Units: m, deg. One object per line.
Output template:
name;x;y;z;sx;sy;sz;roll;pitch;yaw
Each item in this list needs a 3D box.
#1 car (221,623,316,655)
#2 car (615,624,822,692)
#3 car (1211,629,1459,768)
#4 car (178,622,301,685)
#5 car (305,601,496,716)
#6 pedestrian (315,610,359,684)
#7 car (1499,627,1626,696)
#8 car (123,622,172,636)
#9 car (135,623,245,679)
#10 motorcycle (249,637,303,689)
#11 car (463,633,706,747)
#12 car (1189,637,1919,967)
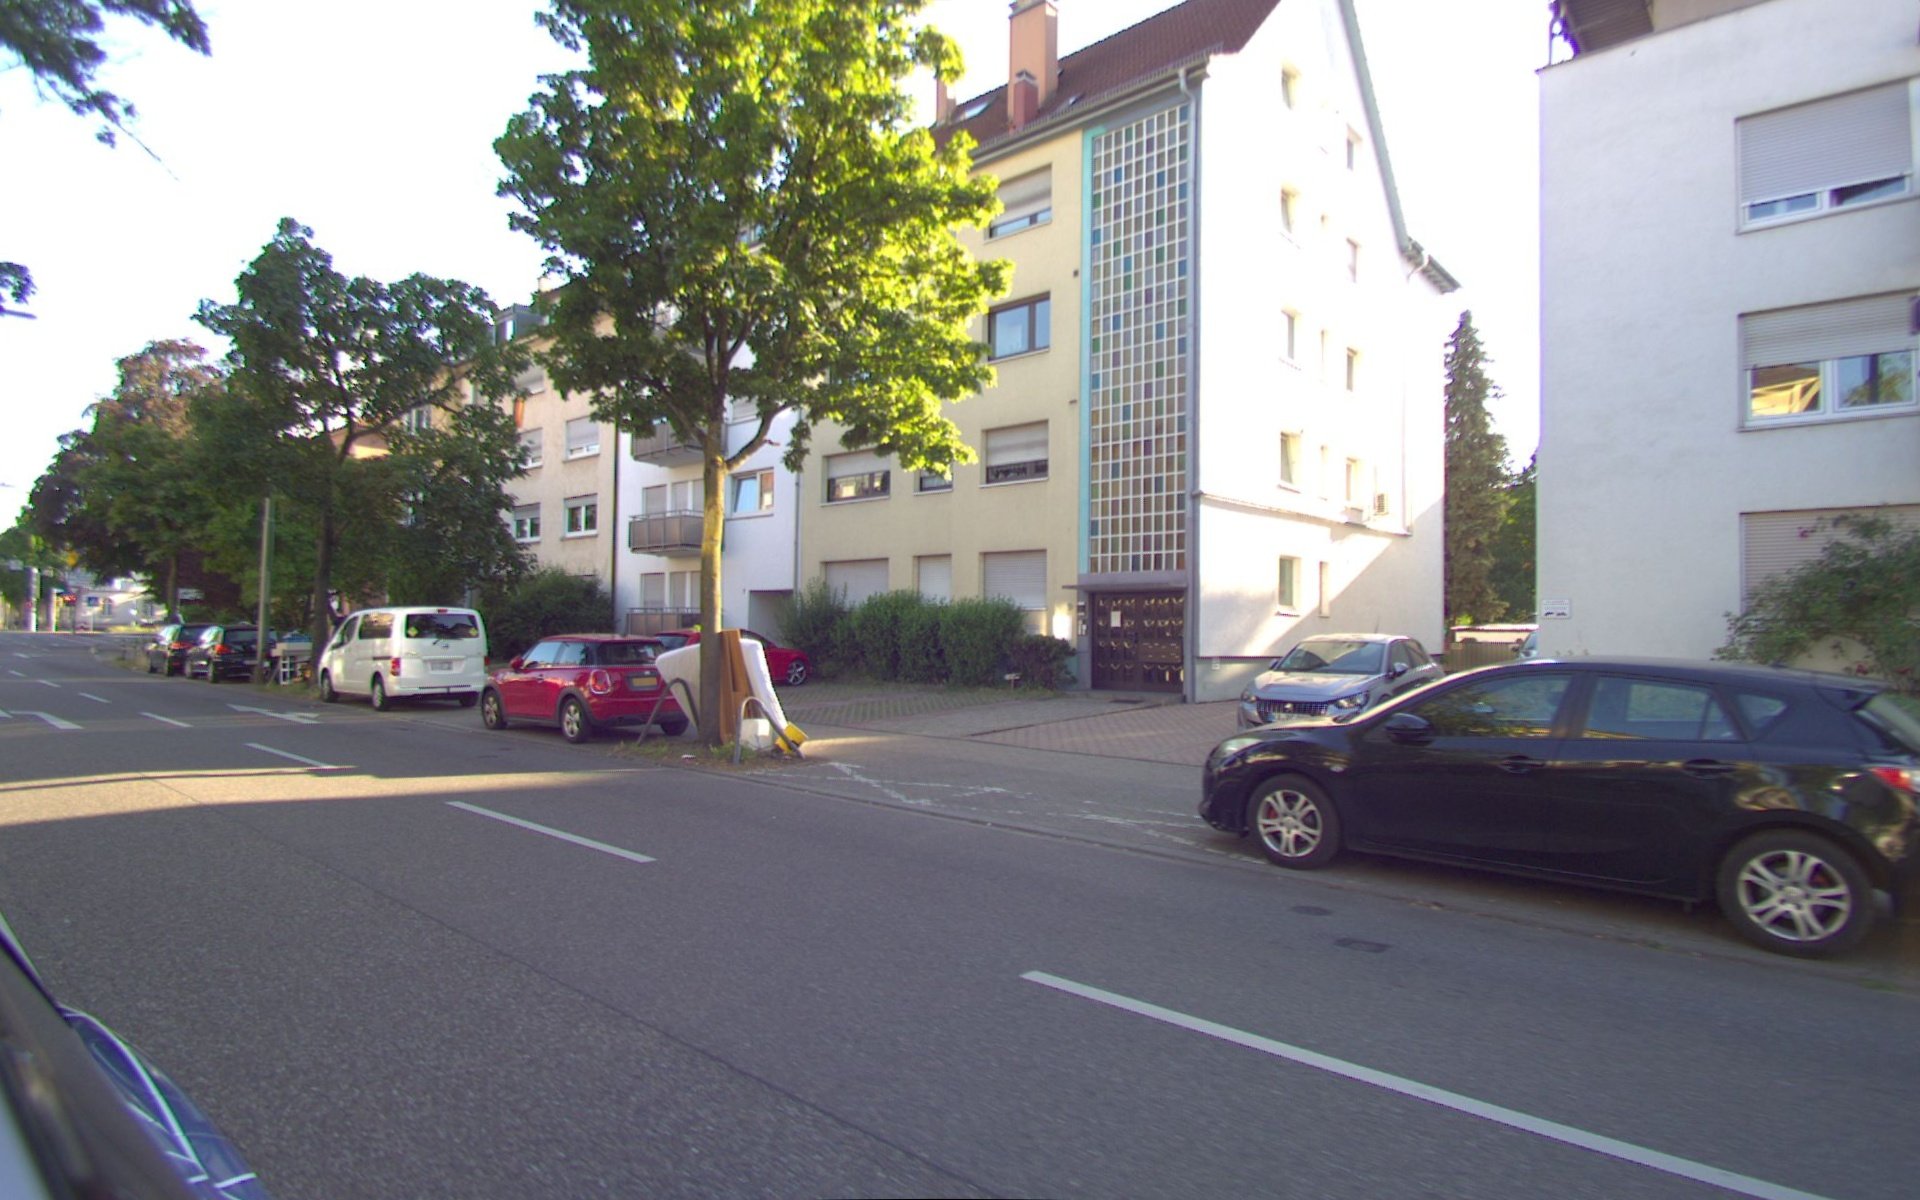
car;-34.066;1.924;49.913;1.813;1.497;3.464;-1;-3;37
car;-5.301;1.270;22.934;1.991;1.373;4.681;-1;-2;28
car;5.053;1.146;13.322;1.997;1.490;3.949;-1;-2;37
car;-18.889;1.369;26.485;3.976;1.514;1.732;-2;-3;41
car;-10.695;1.055;19.213;4.457;1.934;1.751;-2;-3;41
pedestrian;-17.512;1.319;28.451;0.975;2.029;0.759;-2;-3;41
car;14.598;1.416;24.447;1.808;1.490;3.943;-2;-2;43
car;-83.840;3.007;104.437;1.996;1.457;3.602;-1;-3;36
car;-22.493;1.461;29.499;4.195;1.514;1.732;-2;-3;41
motorcycle;-16.388;1.496;24.287;0.434;1.201;1.711;1;-2;-11
car;-5.498;1.202;14.641;3.785;1.432;1.699;-2;-3;41
car;3.769;0.998;6.410;4.246;1.509;1.699;-2;-3;41
